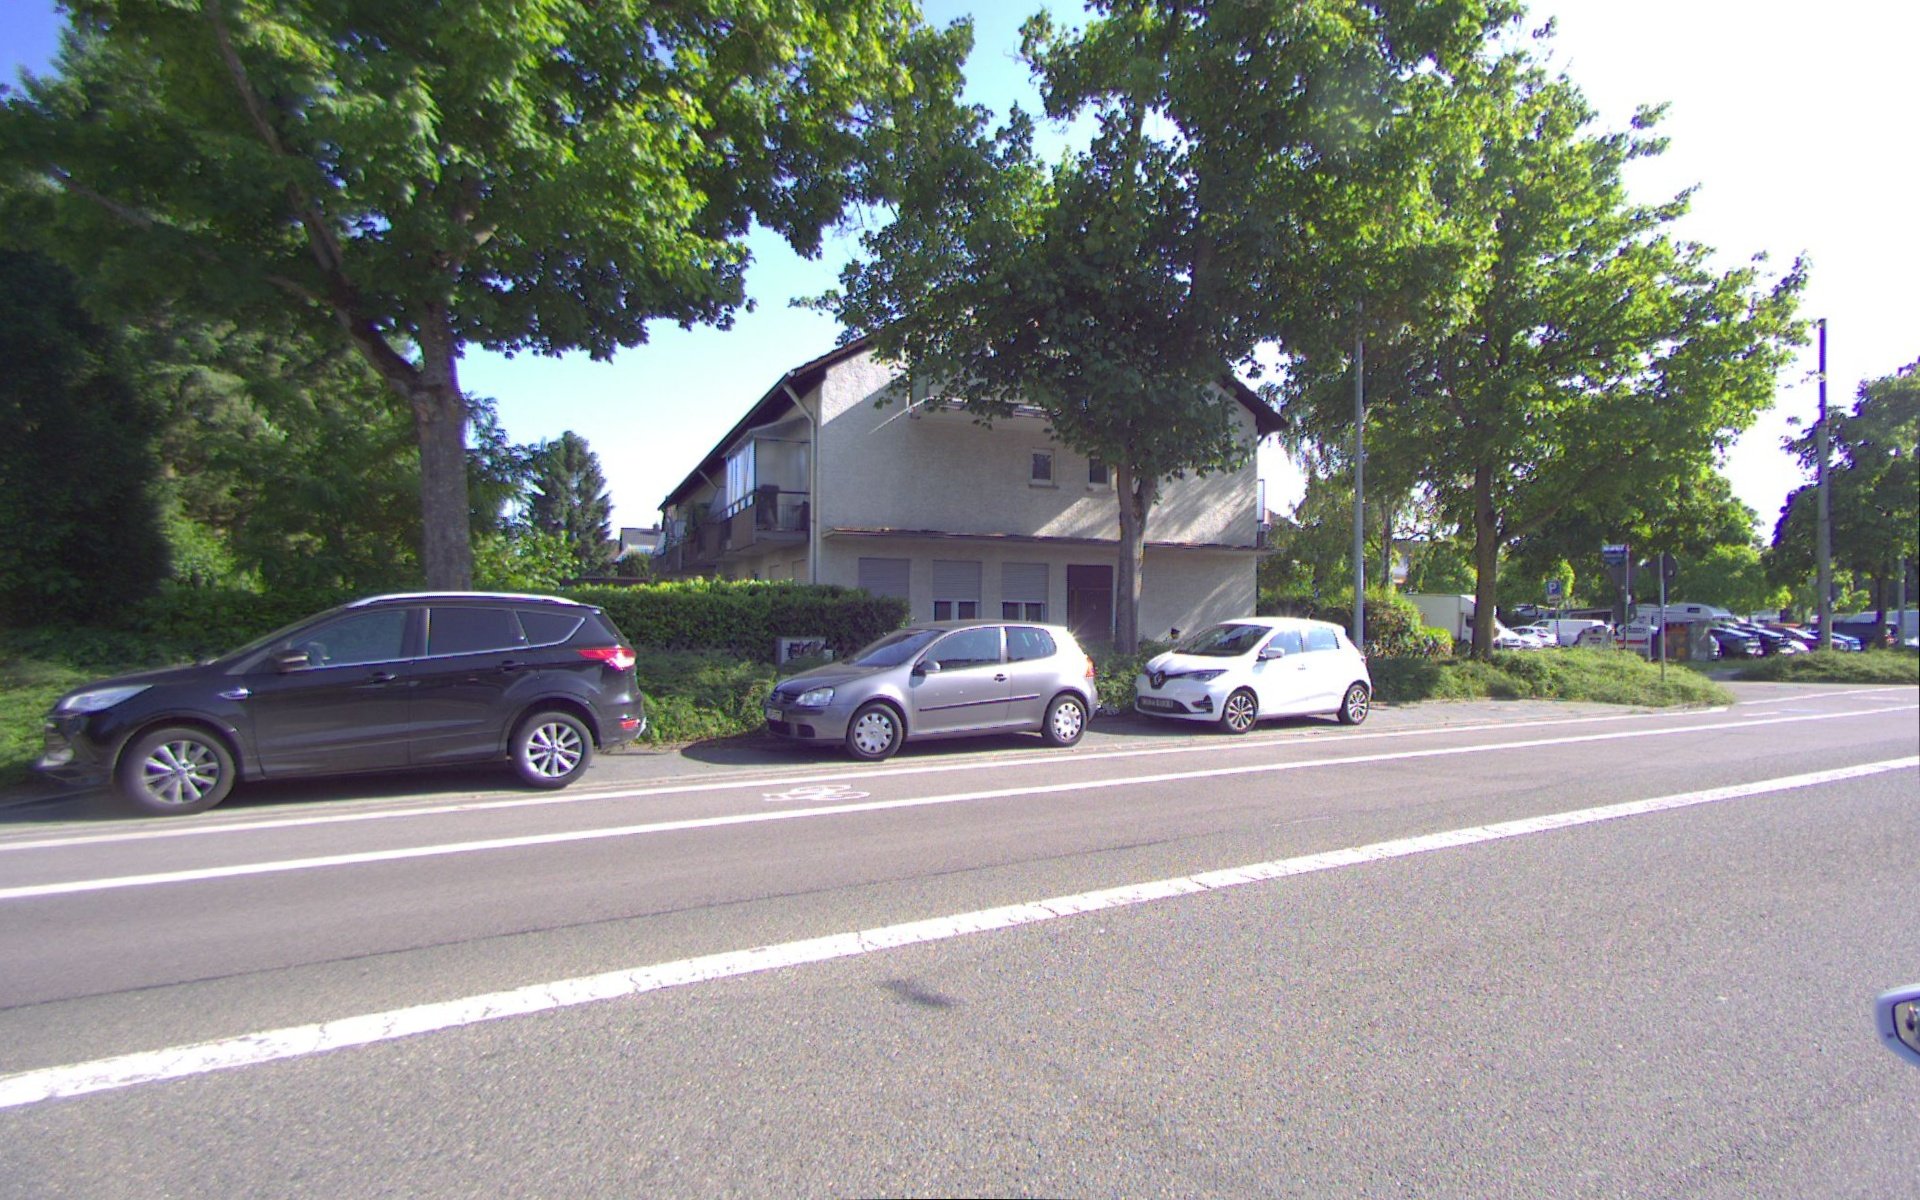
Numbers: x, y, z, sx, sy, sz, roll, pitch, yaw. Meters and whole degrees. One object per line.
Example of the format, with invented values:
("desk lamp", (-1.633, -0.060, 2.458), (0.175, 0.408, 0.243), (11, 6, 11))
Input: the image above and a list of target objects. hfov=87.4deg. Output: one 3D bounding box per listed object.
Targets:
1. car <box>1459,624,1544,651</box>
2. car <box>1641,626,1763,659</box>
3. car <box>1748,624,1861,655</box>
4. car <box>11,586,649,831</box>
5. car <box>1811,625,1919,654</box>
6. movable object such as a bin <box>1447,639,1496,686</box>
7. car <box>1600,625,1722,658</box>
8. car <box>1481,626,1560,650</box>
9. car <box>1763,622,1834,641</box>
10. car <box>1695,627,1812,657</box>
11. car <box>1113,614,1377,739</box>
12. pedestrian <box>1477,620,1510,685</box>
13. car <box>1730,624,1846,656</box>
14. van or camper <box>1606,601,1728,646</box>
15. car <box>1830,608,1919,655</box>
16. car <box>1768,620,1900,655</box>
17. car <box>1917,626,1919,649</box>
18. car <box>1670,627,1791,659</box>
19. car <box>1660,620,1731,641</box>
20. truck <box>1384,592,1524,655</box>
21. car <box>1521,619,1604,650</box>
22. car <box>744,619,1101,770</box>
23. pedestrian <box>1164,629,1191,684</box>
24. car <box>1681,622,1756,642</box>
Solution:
("car", (31.124, 2.139, 57.819), (1.719, 1.477, 3.964), (1, -1, -33))
("car", (32.186, 1.826, 43.660), (1.719, 1.324, 3.964), (1, -1, -33))
("car", (41.479, 1.918, 49.420), (1.719, 1.416, 3.964), (1, -1, -33))
("car", (-5.171, 0.798, 8.886), (4.370, 1.716, 1.704), (1, -1, -30))
("car", (47.471, 2.031, 52.719), (1.719, 1.416, 3.964), (1, -1, -33))
("movable object such as a bin", (13.034, 1.571, 25.579), (1.246, 1.161, 0.539), (1, -1, -30))
("car", (29.881, 1.732, 42.904), (1.719, 1.324, 3.964), (1, -1, -33))
("car", (33.250, 2.236, 59.664), (1.604, 1.379, 3.976), (1, -1, -24))
("car", (65.346, 2.476, 78.316), (1.719, 1.416, 3.964), (1, -1, -33))
("car", (36.962, 1.924, 46.892), (1.719, 1.324, 3.964), (1, -1, -33))
("car", (4.244, 1.026, 14.765), (3.853, 1.571, 1.591), (1, 1, -34))
("pedestrian", (13.830, 1.350, 26.049), (0.603, 1.649, 0.522), (1, -1, -30))
("car", (39.153, 1.867, 47.585), (1.719, 1.416, 3.964), (1, -1, -33))
("van or camper", (47.988, 1.572, 68.372), (2.279, 2.906, 6.436), (1, -1, -29))
("car", (50.627, 1.686, 54.115), (2.062, 2.456, 5.351), (1, -1, -29))
("car", (43.688, 1.830, 50.316), (2.026, 1.673, 4.594), (1, -1, -31))
("car", (59.839, 2.265, 59.732), (1.719, 1.416, 3.964), (1, -1, -33))
("car", (34.411, 1.870, 44.958), (1.719, 1.324, 3.964), (1, -1, -33))
("car", (50.906, 2.096, 69.554), (1.719, 1.416, 3.642), (1, -1, -33))
("truck", (26.957, 1.265, 55.144), (1.965, 3.285, 6.926), (1, -1, -31))
("car", (35.793, 2.041, 59.788), (1.611, 1.751, 3.959), (1, -1, -36))
("car", (-0.375, 0.991, 11.853), (3.925, 1.488, 1.667), (1, -1, -33))
("pedestrian", (4.650, 1.203, 21.504), (0.440, 1.177, 0.345), (1, -1, -22))
("car", (54.939, 2.283, 72.810), (1.719, 1.416, 3.964), (1, -1, -33))
